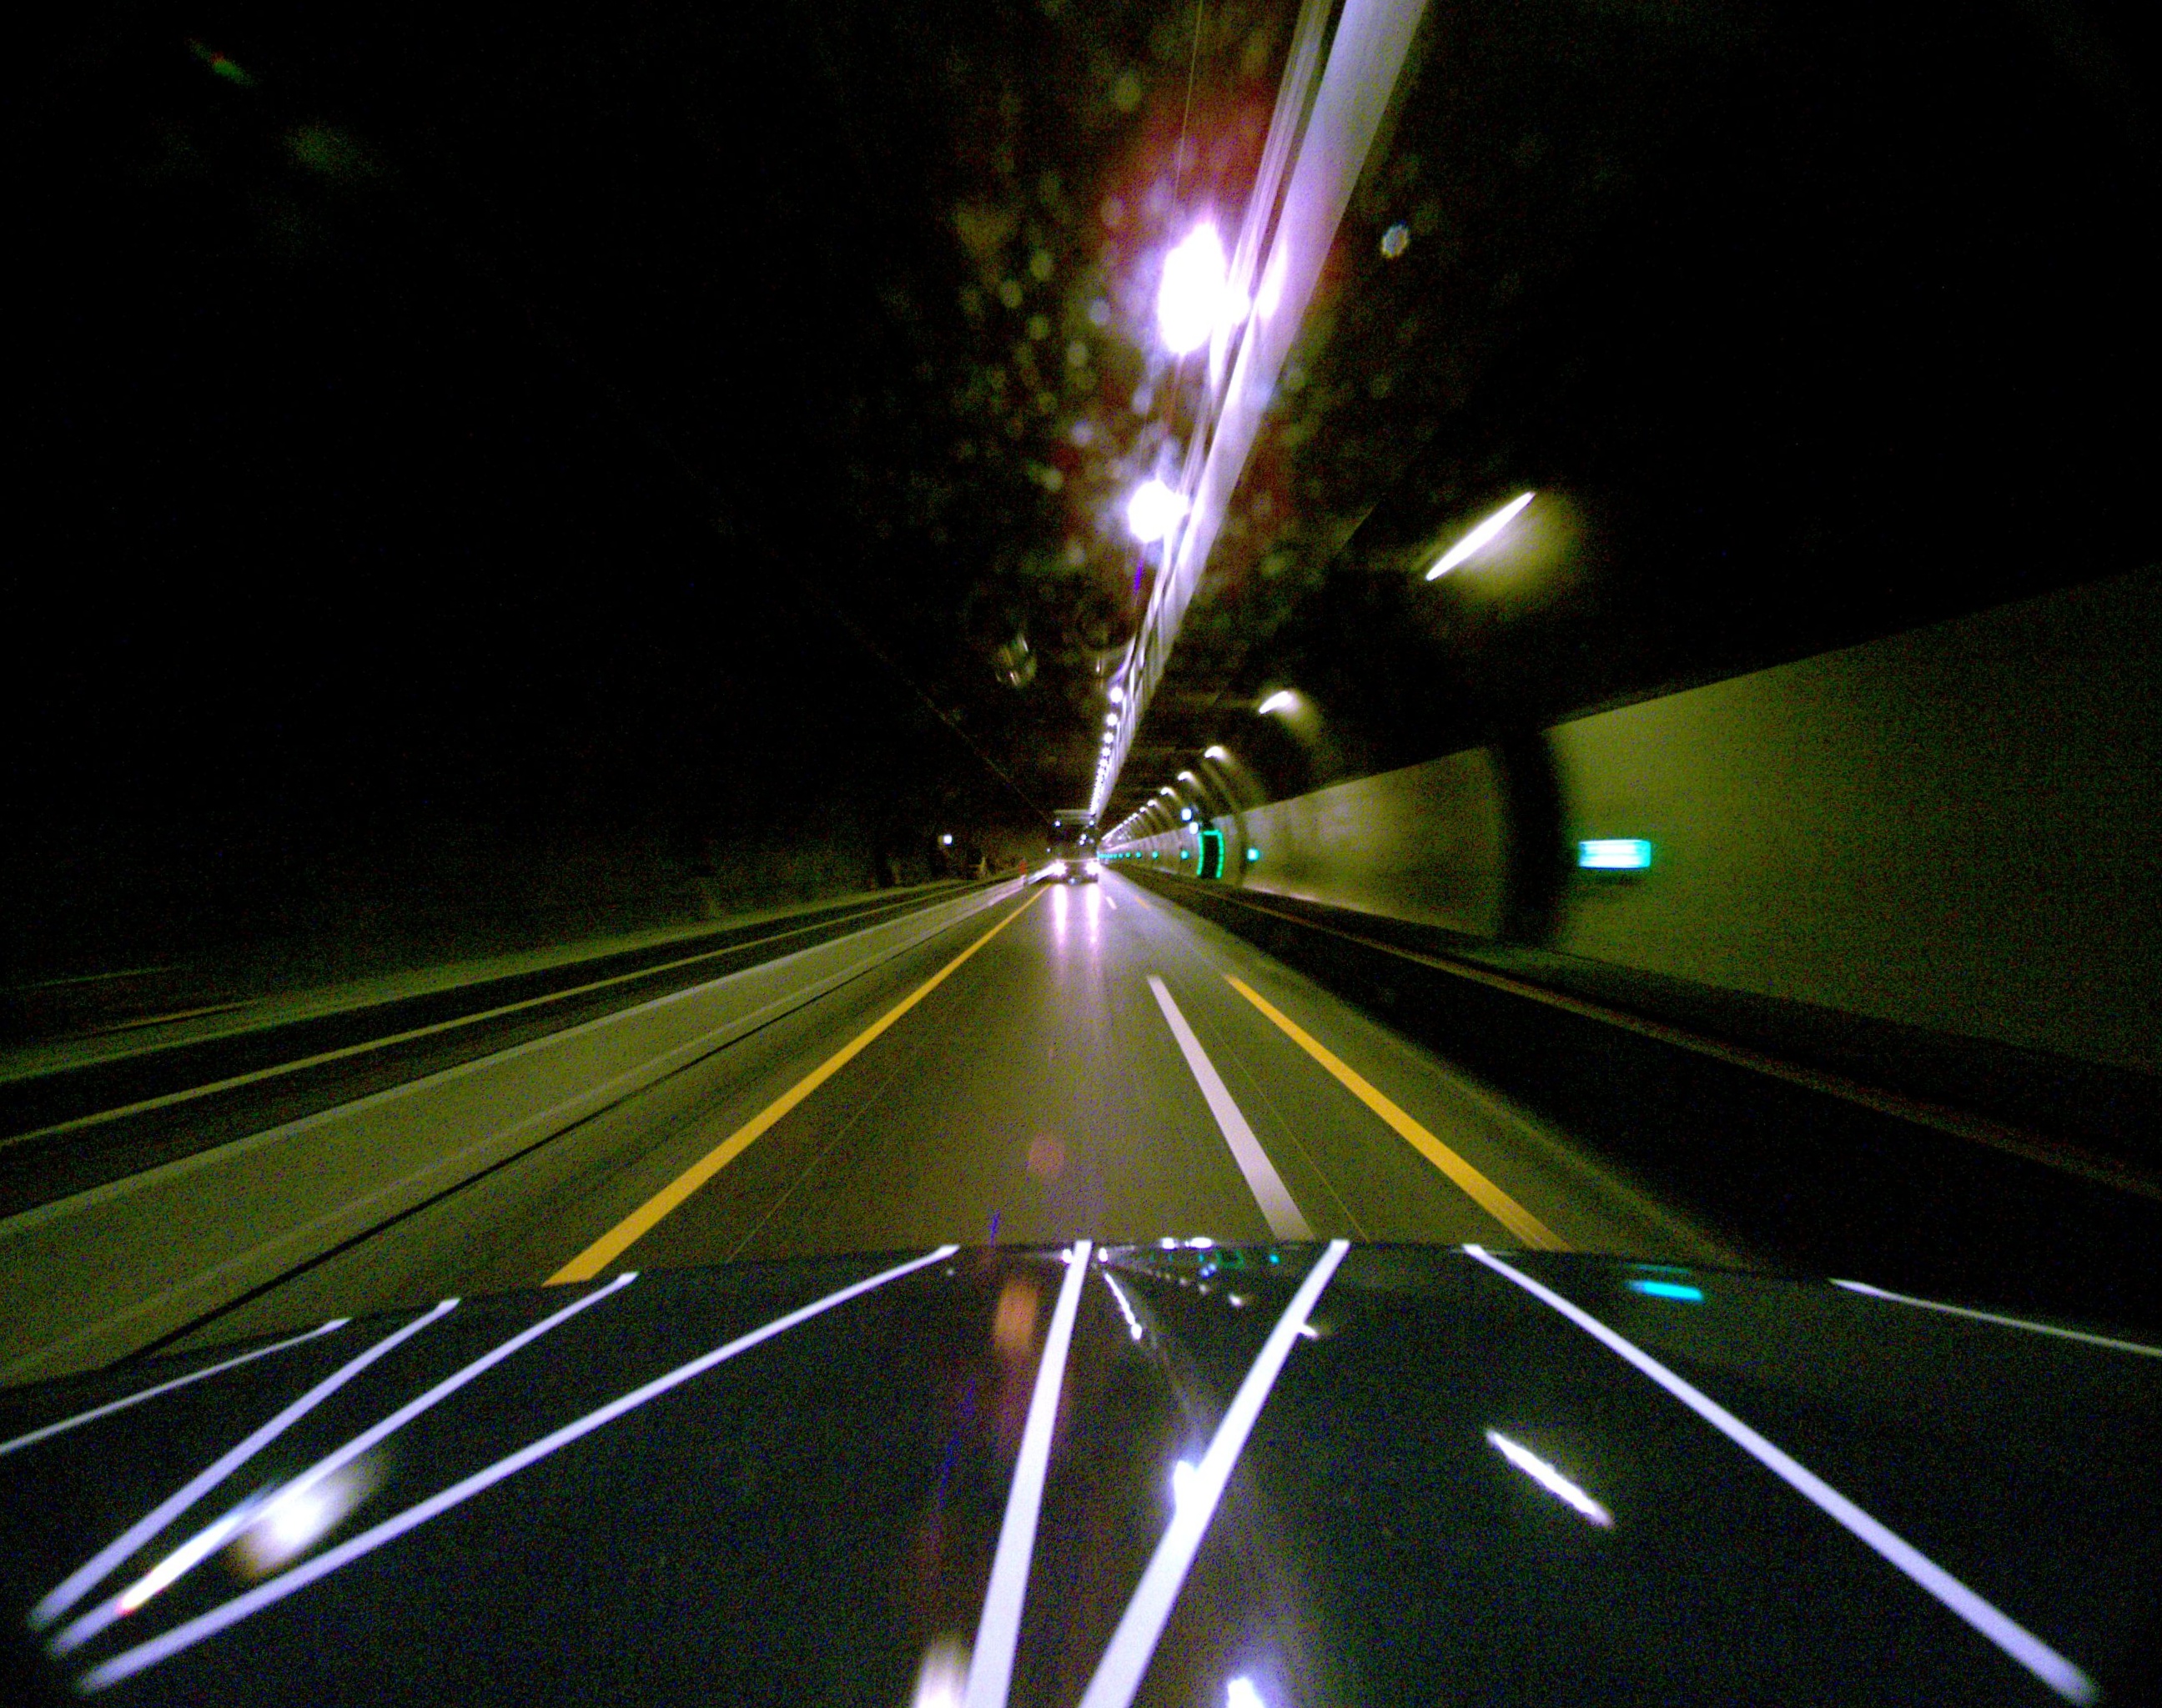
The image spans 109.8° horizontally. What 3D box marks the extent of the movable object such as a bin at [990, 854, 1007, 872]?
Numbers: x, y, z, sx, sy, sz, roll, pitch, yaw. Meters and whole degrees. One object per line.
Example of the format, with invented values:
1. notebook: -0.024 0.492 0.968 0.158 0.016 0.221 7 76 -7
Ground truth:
1. movable object such as a bin: -7.966 0.866 73.398 1.306 1.584 3.055 2 0 0

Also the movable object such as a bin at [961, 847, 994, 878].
1. movable object such as a bin: -7.586 0.547 55.945 1.688 2.133 4.627 -2 1 0

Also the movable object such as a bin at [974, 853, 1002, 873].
1. movable object such as a bin: -8.203 0.802 67.383 1.865 1.665 4.501 2 0 0

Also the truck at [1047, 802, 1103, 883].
1. truck: -0.288 -0.658 44.718 2.951 4.338 6.674 -2 1 1

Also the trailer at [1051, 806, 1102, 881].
1. trailer: -0.204 -0.674 49.939 2.940 4.316 10.051 -2 1 1

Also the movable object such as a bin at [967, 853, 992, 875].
1. movable object such as a bin: -8.211 0.806 61.686 1.560 1.699 3.054 -2 1 0
